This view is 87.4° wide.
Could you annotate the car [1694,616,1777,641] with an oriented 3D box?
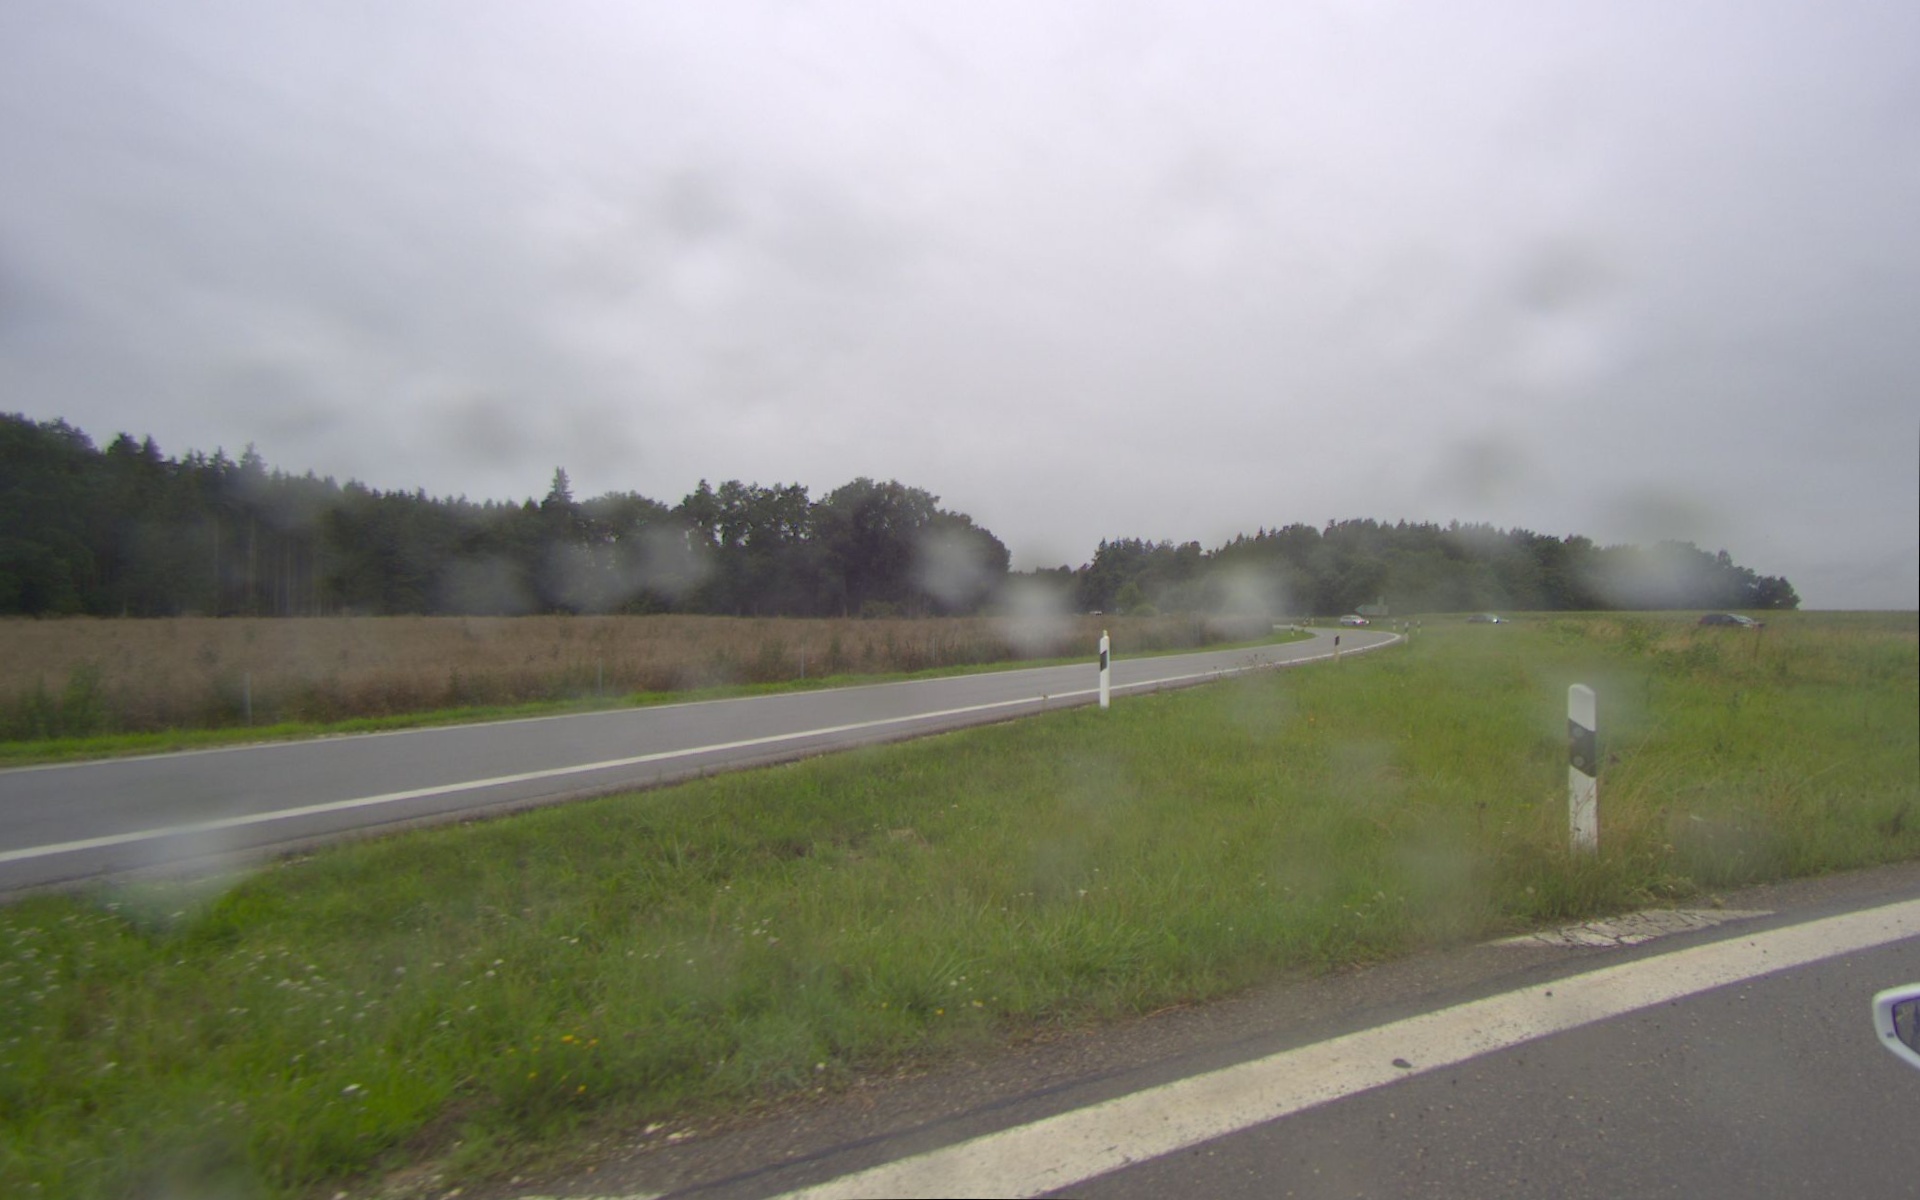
[{"bbox_3d":[55.504,1.991,72.001,2.113,1.658,4.589,0,0,-8],"label":"car"}]
